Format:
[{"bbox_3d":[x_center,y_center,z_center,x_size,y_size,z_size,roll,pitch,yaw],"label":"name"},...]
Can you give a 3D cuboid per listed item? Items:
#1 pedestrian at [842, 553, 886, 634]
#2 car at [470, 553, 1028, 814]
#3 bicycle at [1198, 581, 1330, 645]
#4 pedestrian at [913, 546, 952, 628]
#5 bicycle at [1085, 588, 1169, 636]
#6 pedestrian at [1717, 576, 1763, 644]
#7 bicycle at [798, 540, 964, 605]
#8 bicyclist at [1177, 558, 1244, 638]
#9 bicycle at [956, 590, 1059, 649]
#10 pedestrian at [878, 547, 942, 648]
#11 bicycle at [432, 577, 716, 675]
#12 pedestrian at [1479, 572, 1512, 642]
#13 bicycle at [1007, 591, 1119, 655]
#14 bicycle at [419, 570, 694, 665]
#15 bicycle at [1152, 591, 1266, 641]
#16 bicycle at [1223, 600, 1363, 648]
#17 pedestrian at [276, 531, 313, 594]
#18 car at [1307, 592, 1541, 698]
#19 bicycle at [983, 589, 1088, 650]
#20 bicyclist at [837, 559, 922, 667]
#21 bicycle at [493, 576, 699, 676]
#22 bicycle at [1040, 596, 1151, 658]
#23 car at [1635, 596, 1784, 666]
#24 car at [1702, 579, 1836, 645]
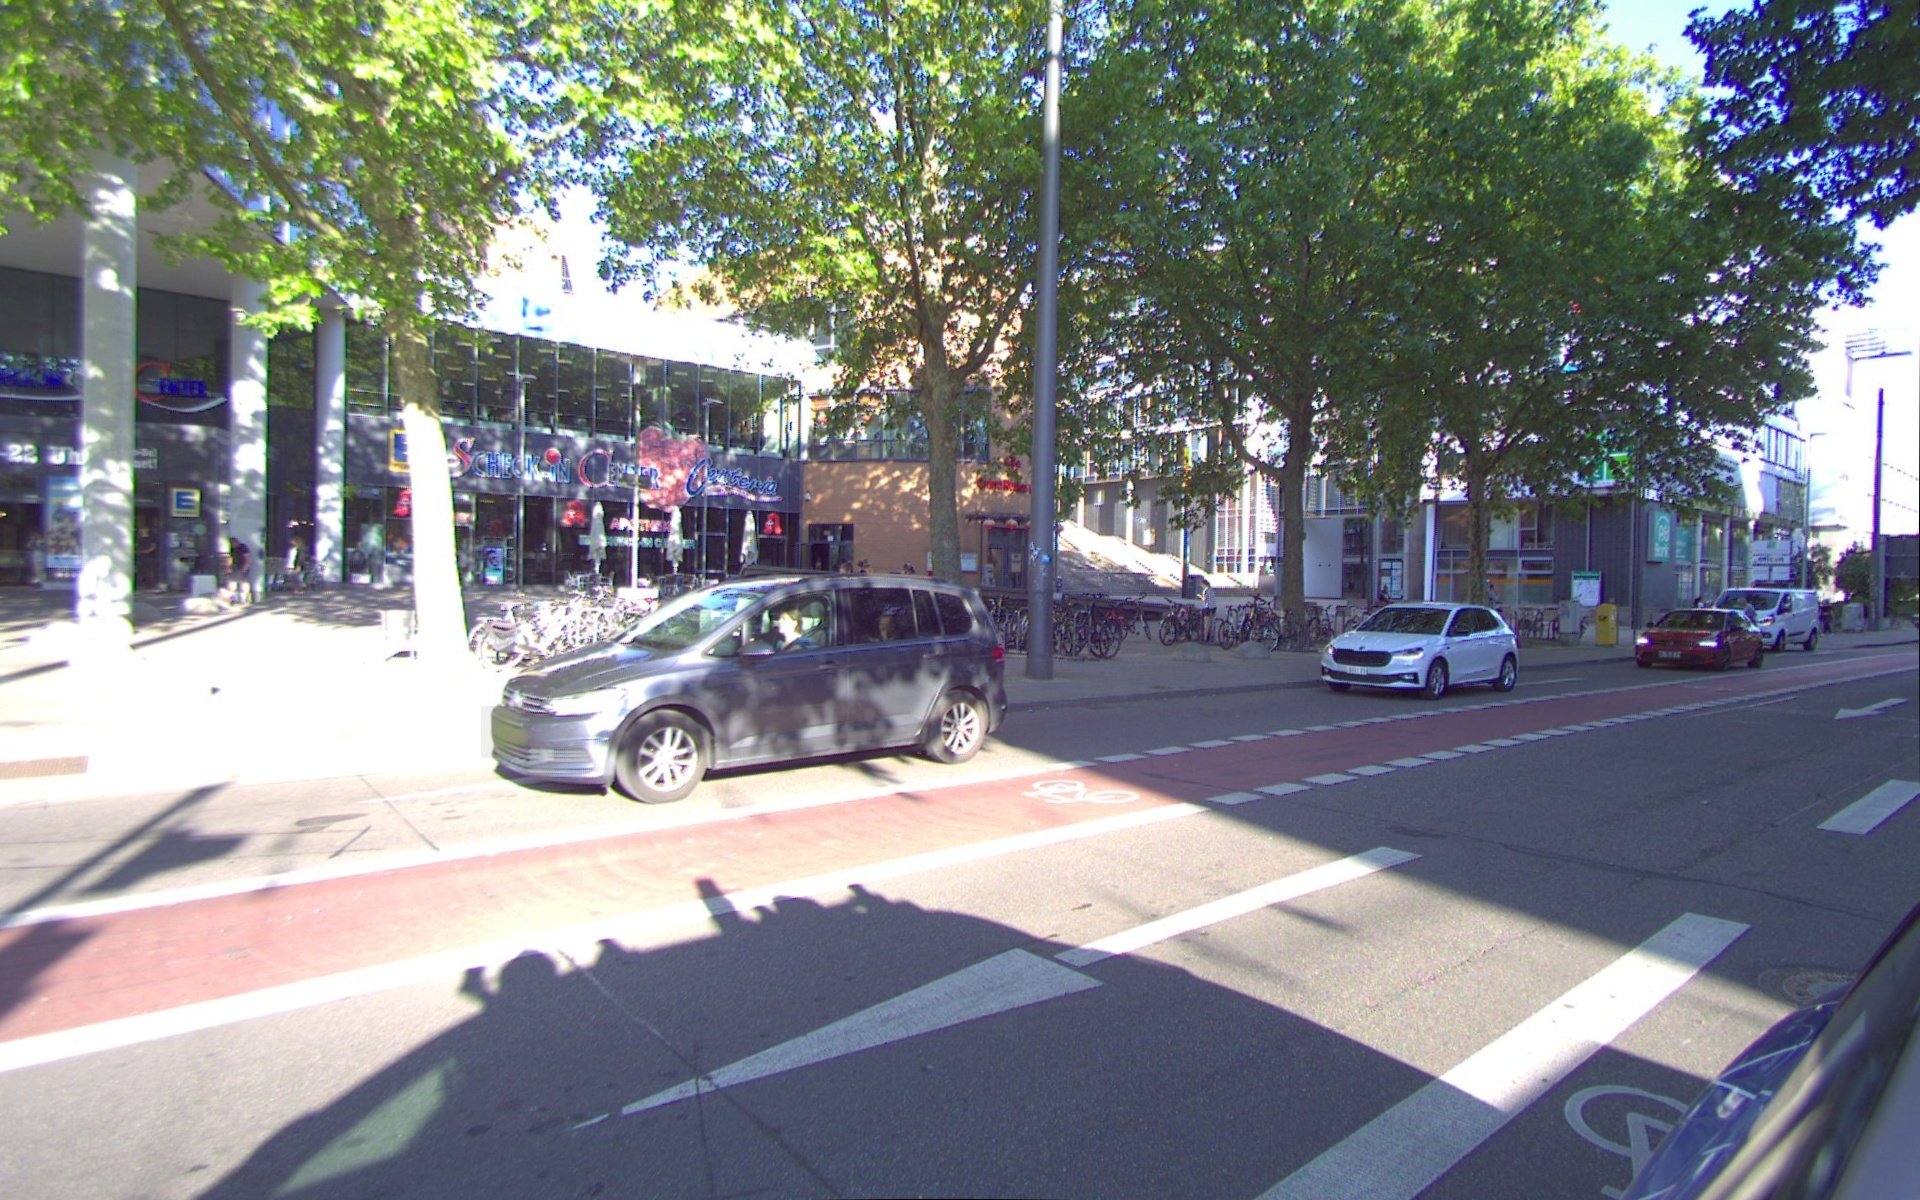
[{"bbox_3d":[-2.727,-0.186,28.893,1.195,2.276,1.052,0,0,-3],"label":"pedestrian"},{"bbox_3d":[-1.559,0.519,8.500,4.314,1.656,1.709,0,0,-41],"label":"car"},{"bbox_3d":[7.375,0.283,24.524,3.156,1.503,0.896,0,1,-19],"label":"bicycle"},{"bbox_3d":[-0.781,-0.366,28.609,0.884,2.261,0.845,0,0,-19],"label":"pedestrian"},{"bbox_3d":[4.493,0.291,27.109,2.653,1.215,0.698,-1,1,-41],"label":"bicycle"},{"bbox_3d":[23.673,0.304,30.723,0.959,2.039,0.816,1,-1,-31],"label":"pedestrian"},{"bbox_3d":[-1.218,-0.415,16.064,2.591,0.960,0.924,-1,0,-41],"label":"bicycle"},{"bbox_3d":[6.575,-0.071,26.623,1.132,2.039,1.301,0,1,-24],"label":"bicyclist"},{"bbox_3d":[1.008,0.378,20.997,2.251,1.177,0.657,-1,0,-38],"label":"bicycle"},{"bbox_3d":[-1.040,-0.073,21.116,0.922,2.039,1.085,2,1,24],"label":"pedestrian"},{"bbox_3d":[-5.452,0.310,14.580,3.744,1.236,0.758,-2,1,-35],"label":"bicycle"},{"bbox_3d":[20.763,0.275,39.239,0.967,2.681,0.897,0,0,18],"label":"pedestrian"},{"bbox_3d":[2.051,0.410,19.837,2.355,1.177,0.750,-1,0,-40],"label":"bicycle"},{"bbox_3d":[-5.983,0.301,15.279,3.743,1.236,0.729,4,-2,-35],"label":"bicycle"},{"bbox_3d":[6.508,0.383,26.782,1.124,1.097,3.342,0,2,-23],"label":"bicycle"},{"bbox_3d":[7.754,0.543,23.582,3.136,1.038,0.979,0,0,-18],"label":"bicycle"},{"bbox_3d":[-19.152,-1.071,29.152,0.820,1.765,0.647,1,1,-28],"label":"pedestrian"},{"bbox_3d":[7.606,0.633,16.458,4.119,1.508,1.835,0,0,-39],"label":"car"},{"bbox_3d":[1.538,0.365,20.410,2.263,1.177,0.671,-1,0,-38],"label":"bicycle"},{"bbox_3d":[-1.279,0.193,15.993,1.005,1.641,0.902,0,0,-41],"label":"bicyclist"},{"bbox_3d":[-4.899,0.309,13.734,2.504,1.236,0.758,-2,1,-35],"label":"bicycle"},{"bbox_3d":[2.573,0.478,19.051,2.295,1.073,0.682,-1,1,-39],"label":"bicycle"},{"bbox_3d":[17.826,0.681,24.020,4.119,1.508,1.835,0,-1,-38],"label":"car"},{"bbox_3d":[26.120,0.346,32.593,5.807,1.989,1.934,0,0,-36],"label":"car"}]
